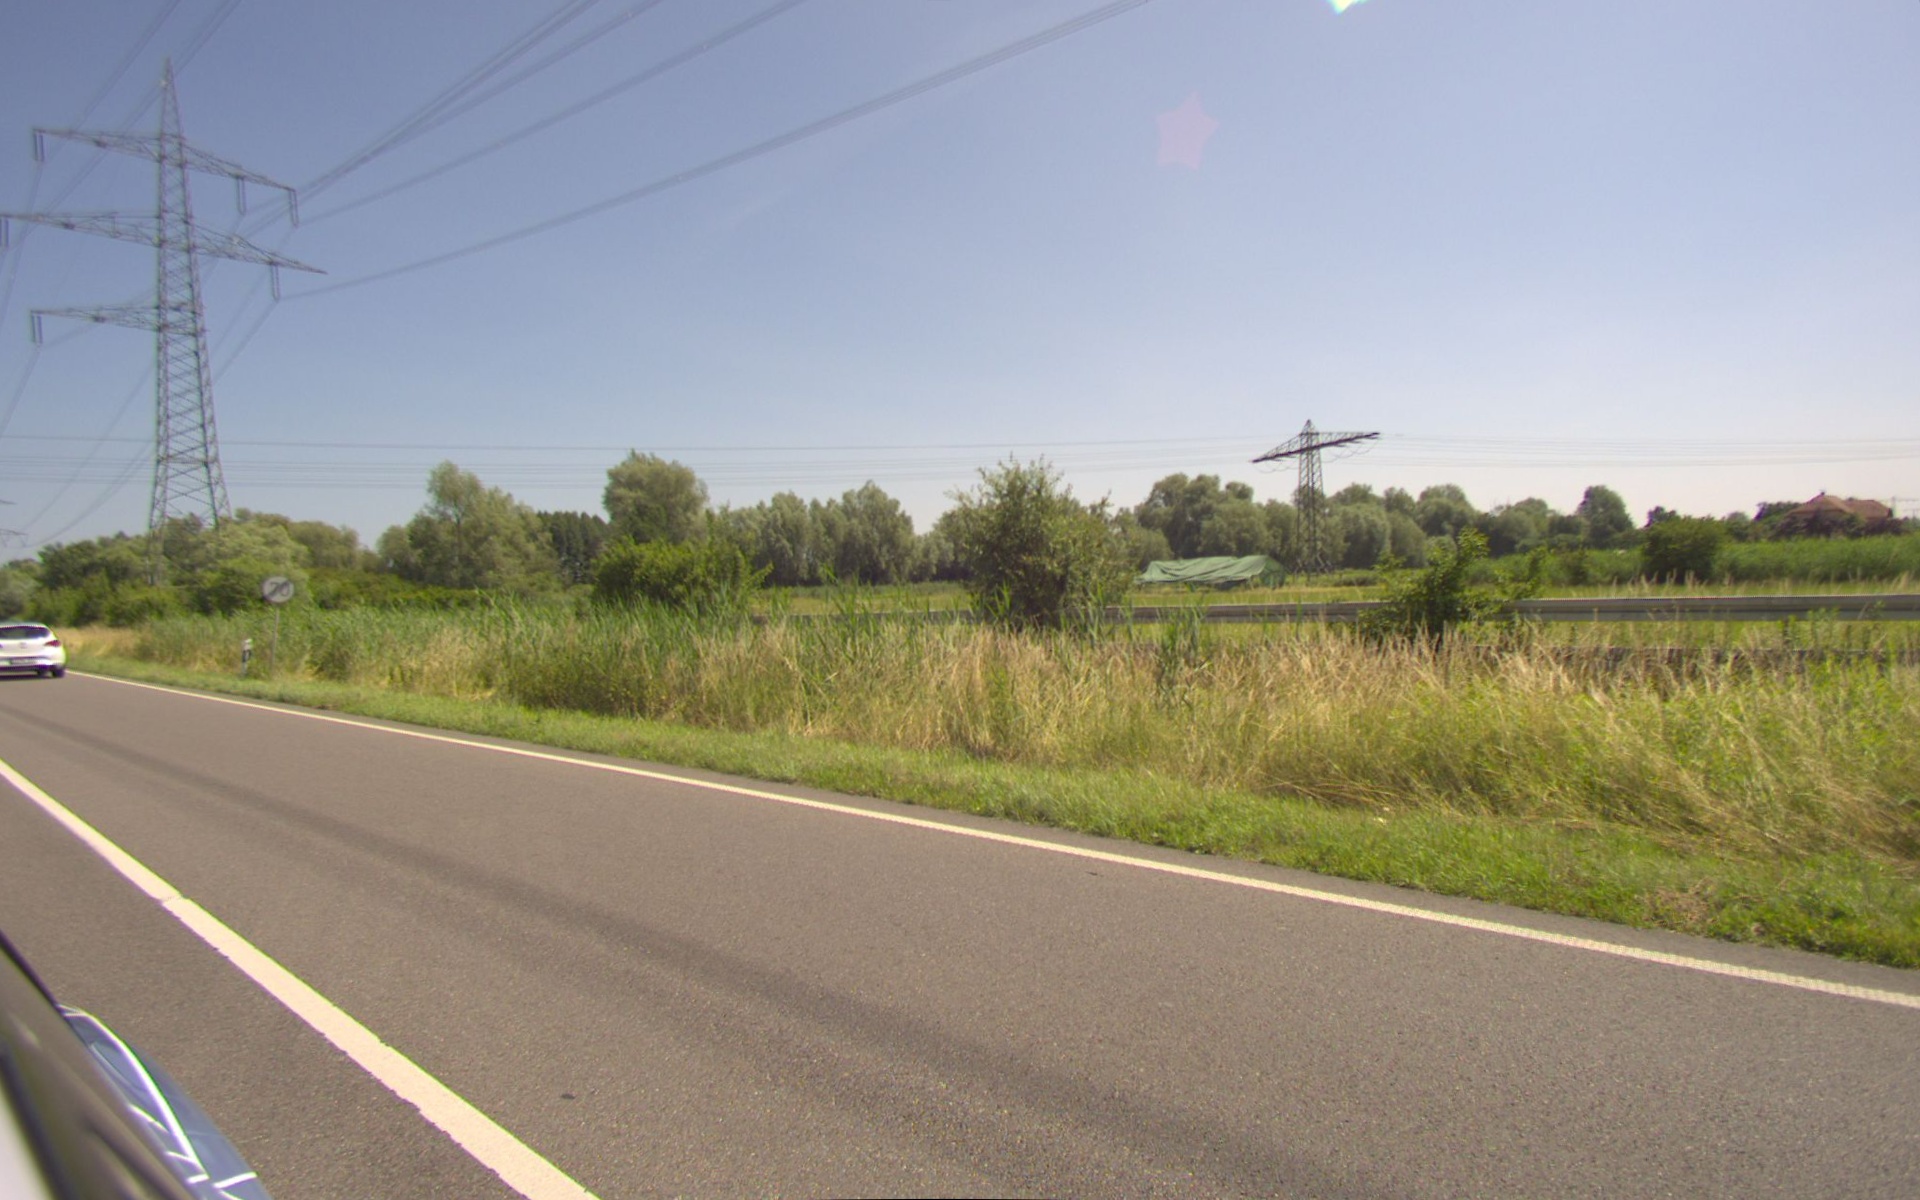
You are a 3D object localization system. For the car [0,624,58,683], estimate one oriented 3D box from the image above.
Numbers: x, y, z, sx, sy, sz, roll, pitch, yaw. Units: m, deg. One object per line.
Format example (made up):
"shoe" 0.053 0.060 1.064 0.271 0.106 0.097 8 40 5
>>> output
"car" -25.456 1.393 26.943 4.247 1.452 1.707 -2 -1 42
